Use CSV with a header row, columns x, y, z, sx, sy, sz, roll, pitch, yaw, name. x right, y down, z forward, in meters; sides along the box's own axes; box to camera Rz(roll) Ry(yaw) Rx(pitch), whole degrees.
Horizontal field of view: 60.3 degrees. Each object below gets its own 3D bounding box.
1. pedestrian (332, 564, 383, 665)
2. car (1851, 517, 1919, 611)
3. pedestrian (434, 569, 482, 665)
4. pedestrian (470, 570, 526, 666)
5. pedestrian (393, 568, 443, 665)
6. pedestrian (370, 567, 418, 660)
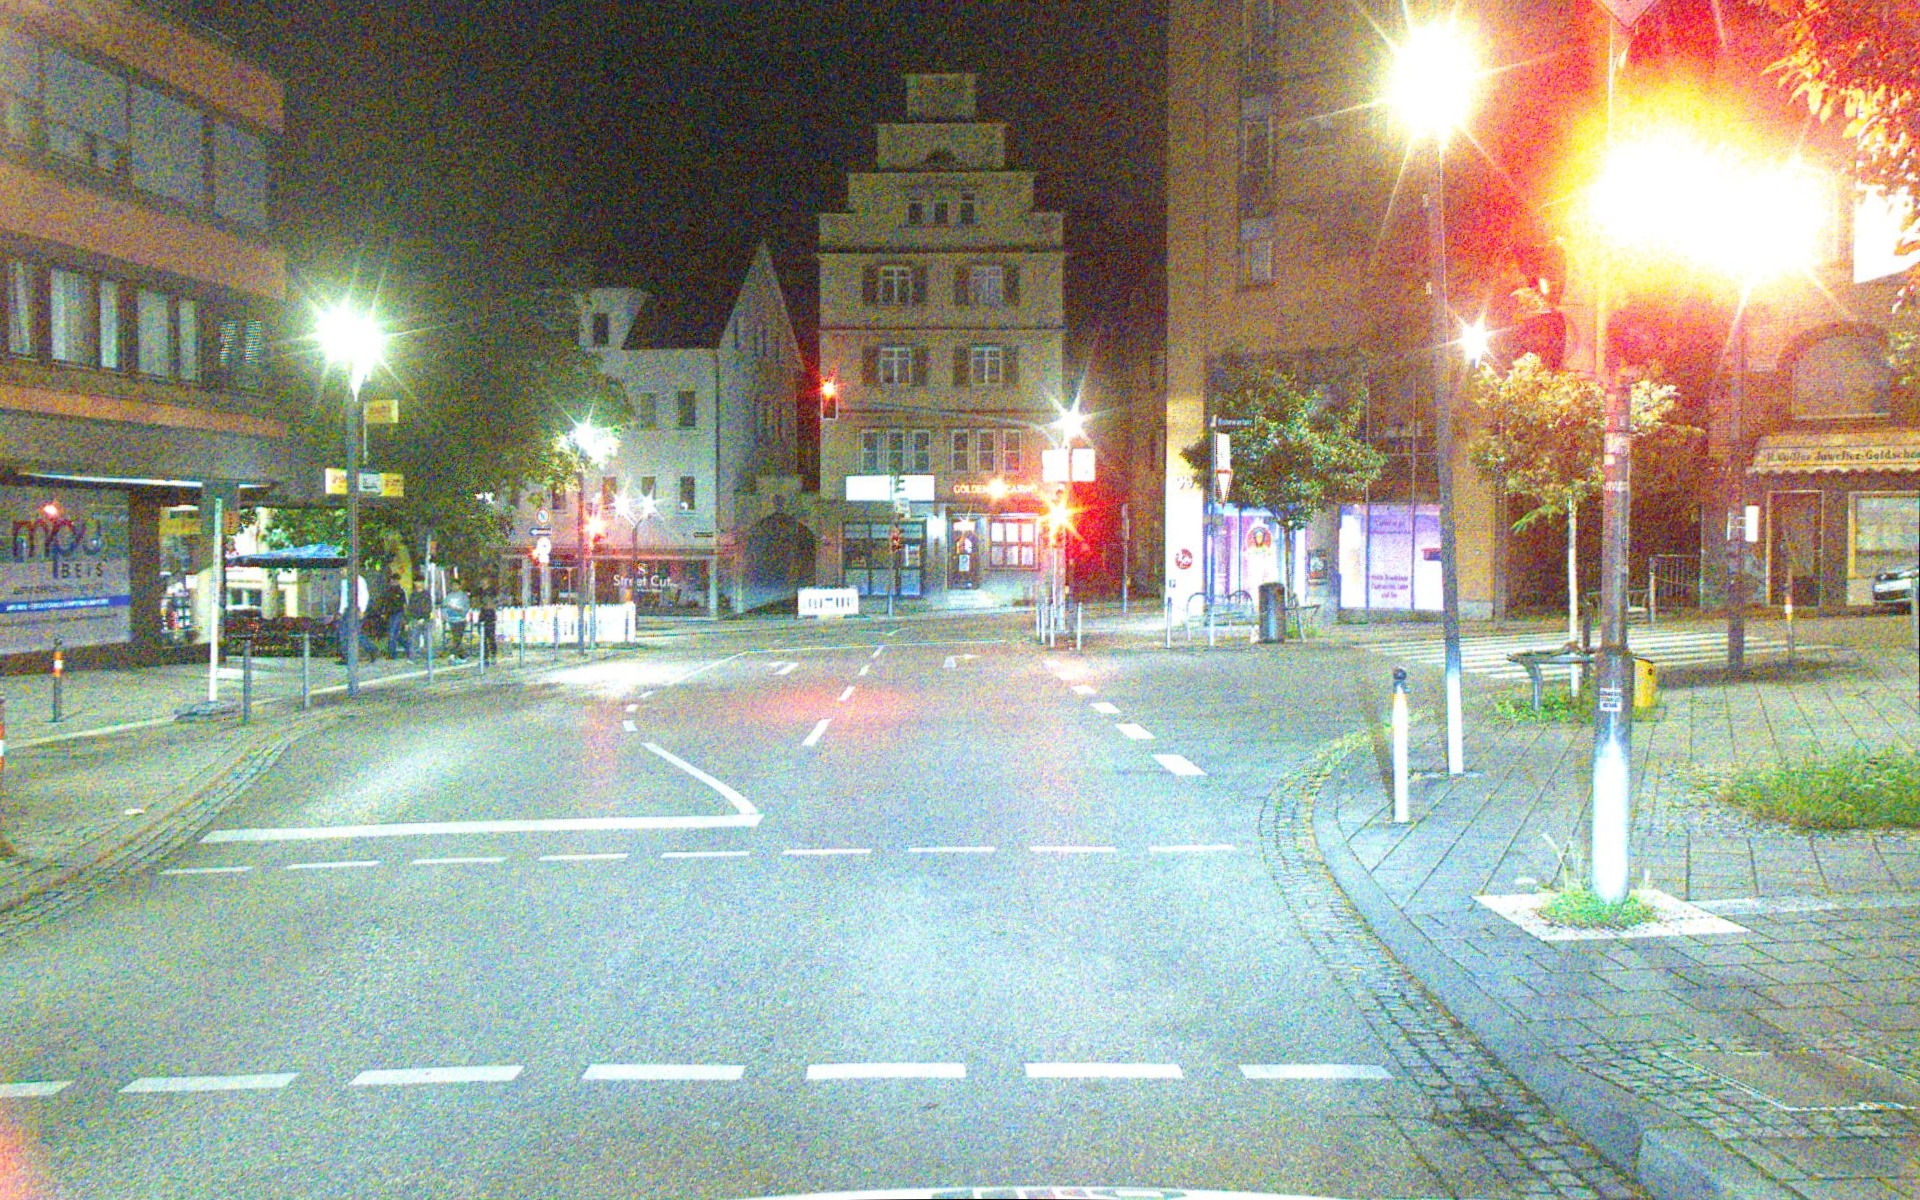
x,y,z,sx,sy,sz,roll,pitch,yaw,name
-11.004,0.262,30.223,0.701,1.827,0.569,1,-1,-1,pedestrian
17.113,-0.690,27.121,3.957,1.478,1.827,-3,1,6,car
-9.752,0.332,32.151,0.701,1.827,0.570,1,-1,6,pedestrian
-8.981,0.350,32.158,0.702,1.827,0.736,0,-2,26,pedestrian
-10.363,0.315,31.640,0.701,1.827,0.570,1,-1,6,pedestrian
-11.275,0.273,32.945,0.701,1.827,0.570,1,-1,6,pedestrian
